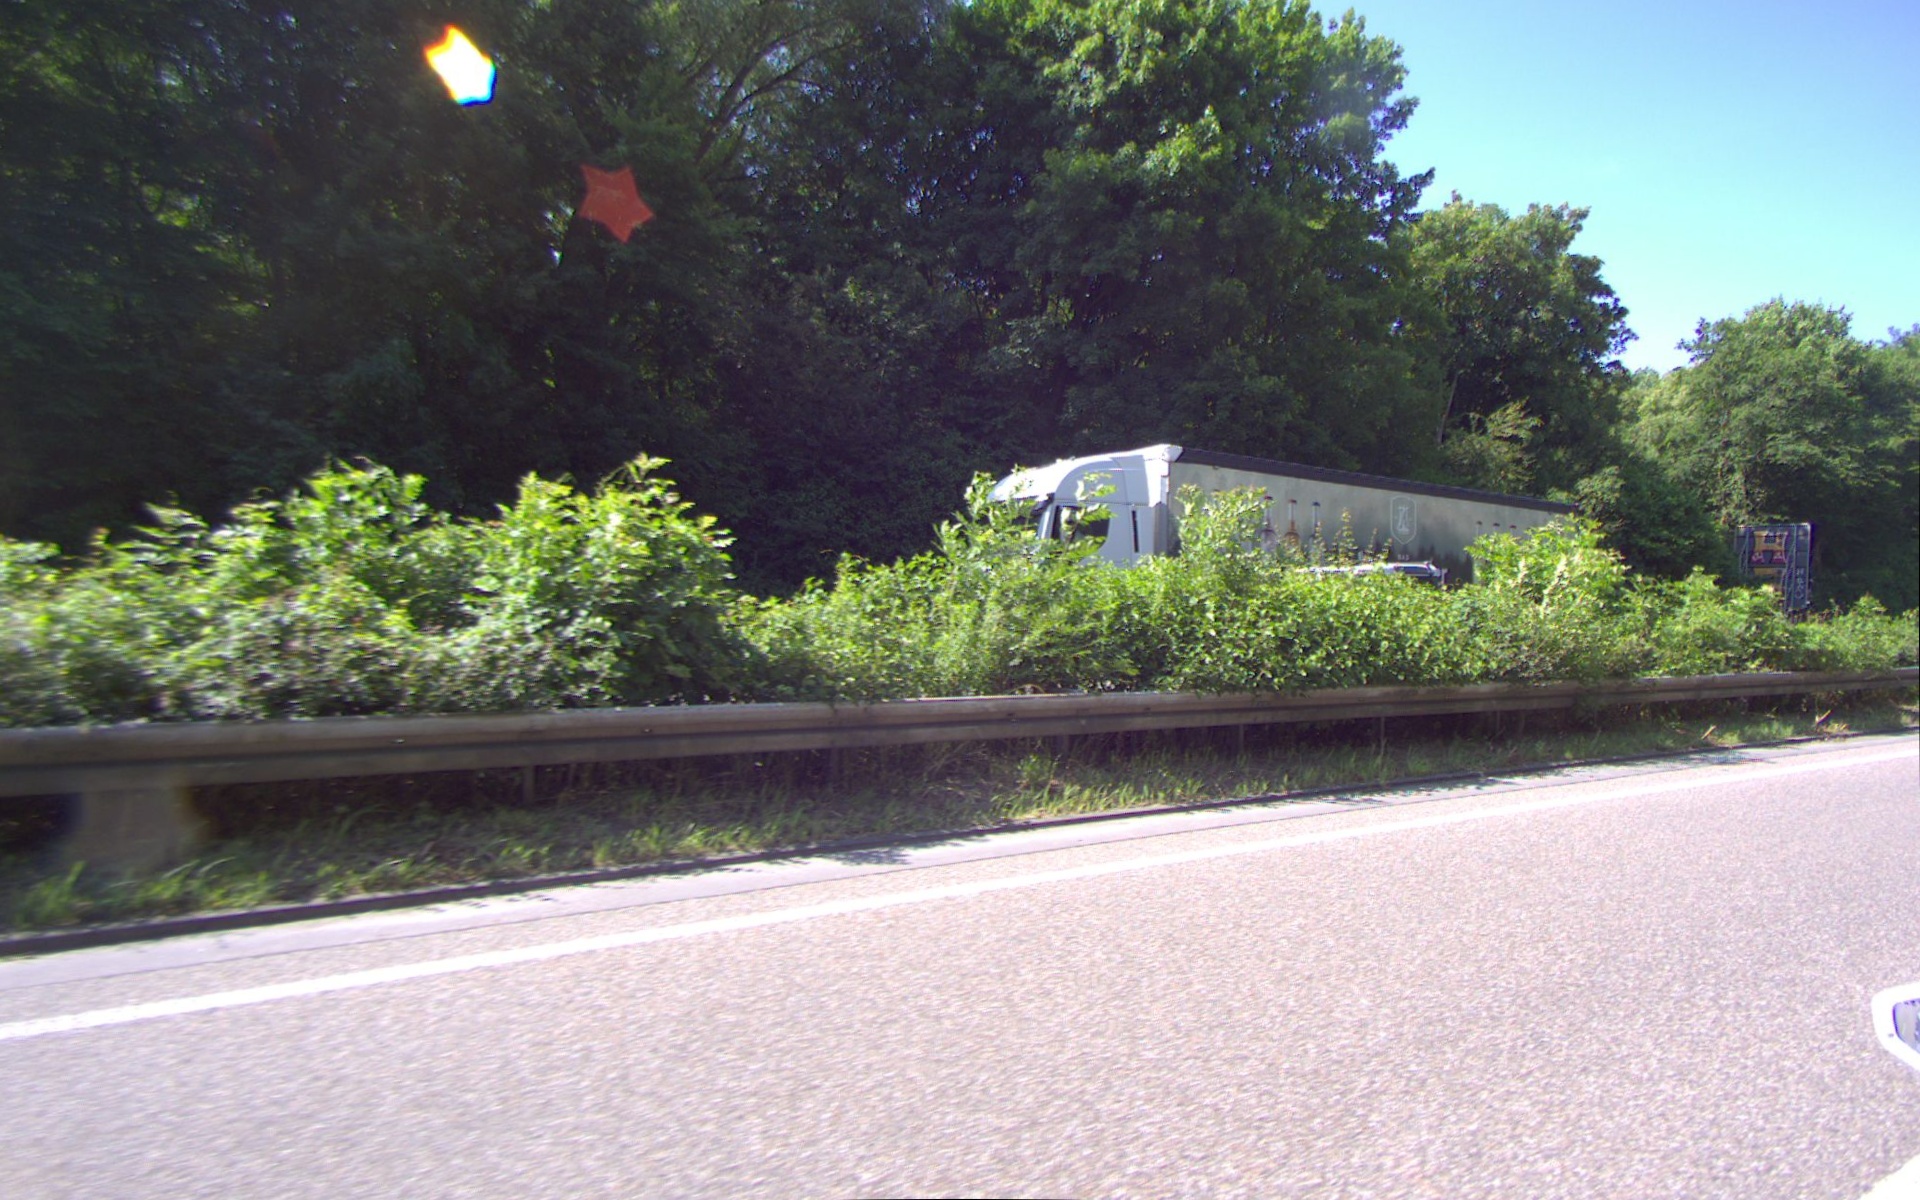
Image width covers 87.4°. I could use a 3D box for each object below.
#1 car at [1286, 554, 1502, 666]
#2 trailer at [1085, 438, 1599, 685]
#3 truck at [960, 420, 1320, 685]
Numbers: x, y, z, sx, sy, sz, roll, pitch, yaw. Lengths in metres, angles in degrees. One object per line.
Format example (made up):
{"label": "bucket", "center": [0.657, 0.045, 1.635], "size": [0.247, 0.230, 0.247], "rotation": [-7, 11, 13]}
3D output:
{"label": "car", "center": [7.381, 0.192, 17.026], "size": [3.440, 1.728, 1.599], "rotation": [2, 0, -30]}
{"label": "trailer", "center": [9.071, -0.484, 22.353], "size": [13.505, 4.357, 2.815], "rotation": [2, 0, -31]}
{"label": "truck", "center": [3.510, -0.695, 19.119], "size": [6.461, 4.300, 2.704], "rotation": [2, 0, -31]}
